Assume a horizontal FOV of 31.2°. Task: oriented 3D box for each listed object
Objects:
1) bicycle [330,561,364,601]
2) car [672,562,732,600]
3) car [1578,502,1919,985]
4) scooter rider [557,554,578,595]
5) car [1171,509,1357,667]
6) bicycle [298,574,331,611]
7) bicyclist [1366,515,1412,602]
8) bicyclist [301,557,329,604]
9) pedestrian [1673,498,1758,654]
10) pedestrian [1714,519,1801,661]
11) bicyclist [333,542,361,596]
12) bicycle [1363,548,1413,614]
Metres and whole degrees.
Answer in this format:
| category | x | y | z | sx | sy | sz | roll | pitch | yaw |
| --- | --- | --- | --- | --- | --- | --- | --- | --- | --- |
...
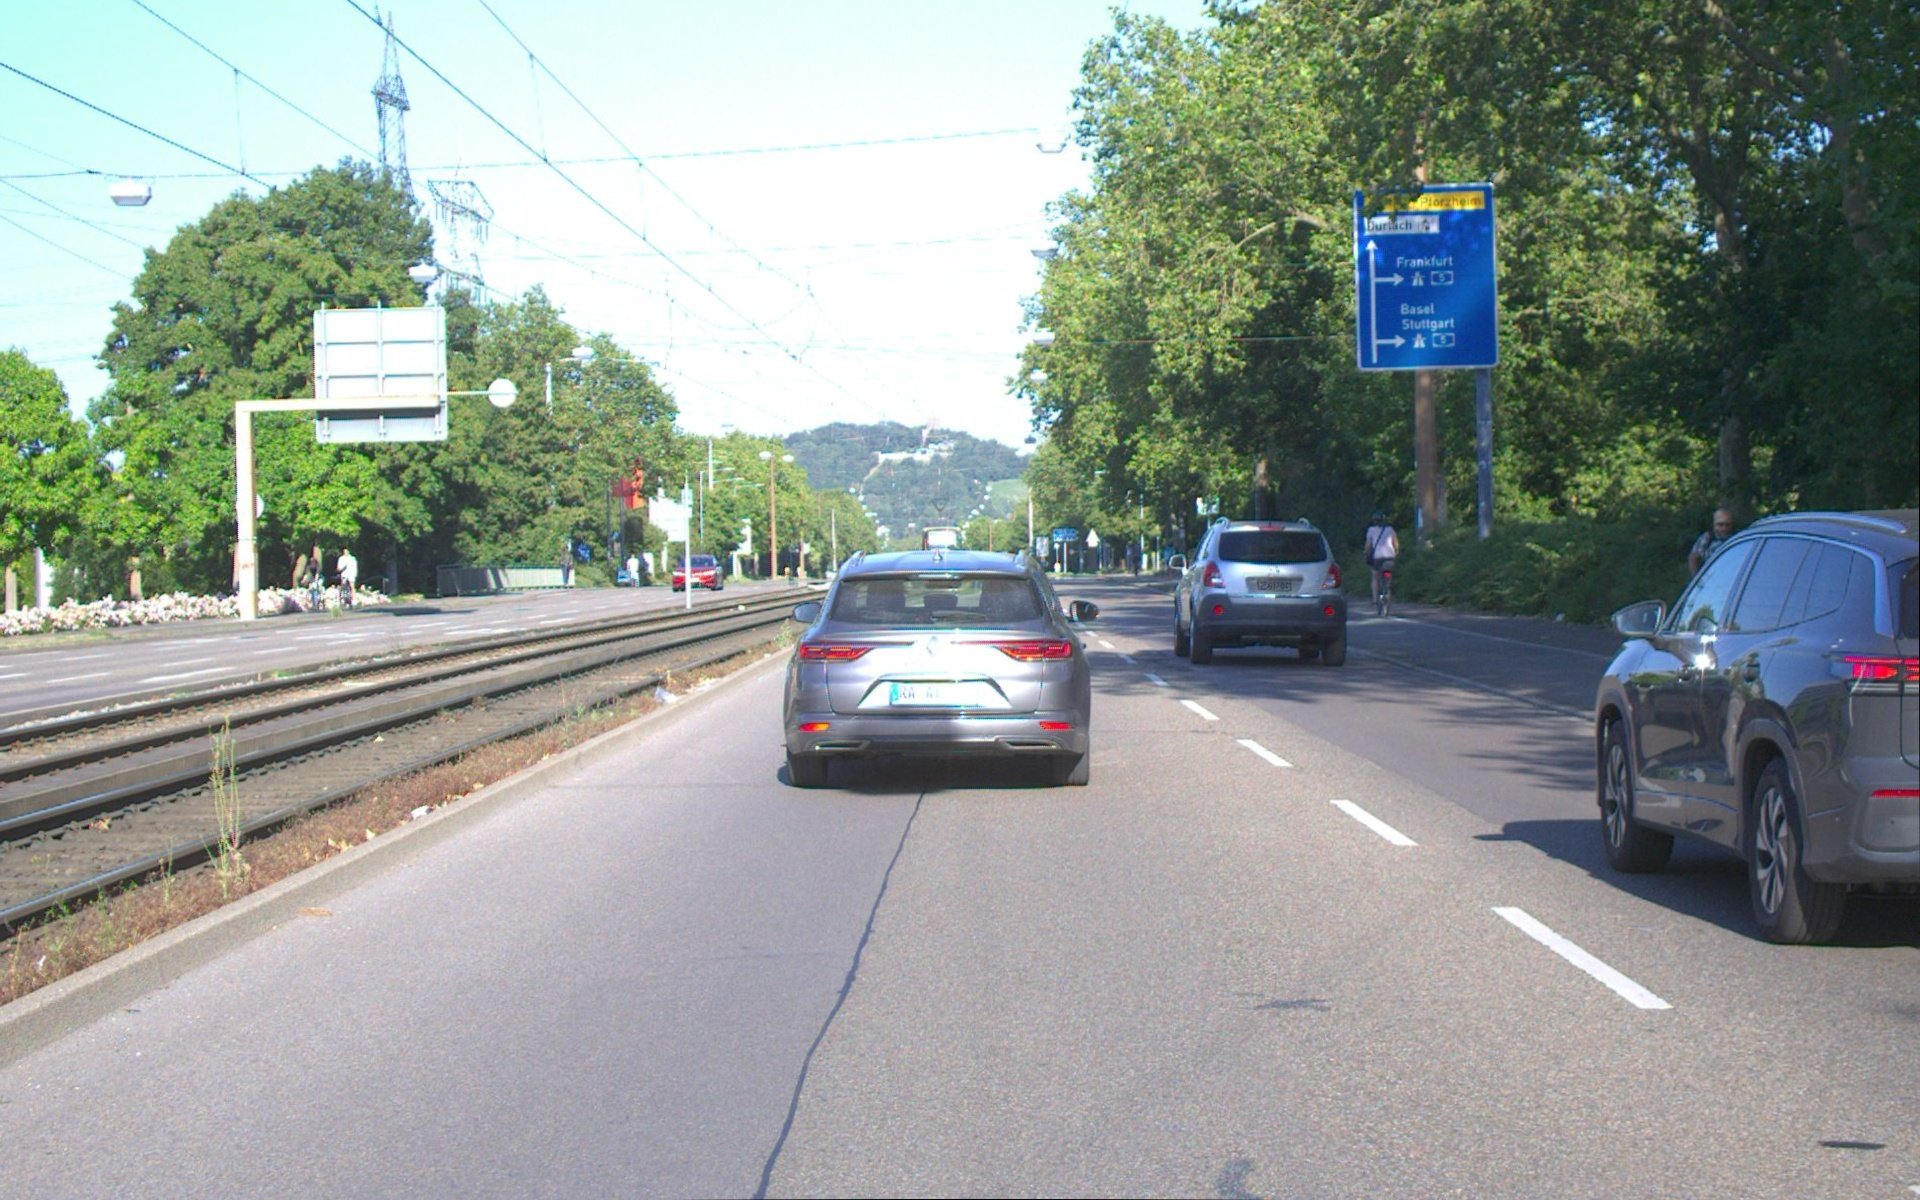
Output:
| category | x | y | z | sx | sy | sz | roll | pitch | yaw |
| --- | --- | --- | --- | --- | --- | --- | --- | --- | --- |
| bicycle | -19.201 | -0.591 | 107.721 | 0.602 | 1.215 | 1.748 | 1 | 1 | 4 |
| car | -10.977 | -0.834 | 146.449 | 2.039 | 1.498 | 4.888 | -1 | 1 | 1 |
| car | 3.907 | 0.446 | 14.021 | 1.844 | 1.655 | 4.440 | 0 | 1 | -2 |
| scooter rider | -17.977 | -1.183 | 157.472 | 0.682 | 1.842 | 1.000 | -1 | 1 | 8 |
| car | 3.650 | -0.183 | 41.916 | 1.883 | 1.789 | 4.000 | 1 | 1 | 0 |
| bicycle | -19.203 | -0.219 | 102.265 | 0.625 | 1.055 | 1.703 | 1 | 1 | 1 |
| bicyclist | 7.480 | -0.728 | 59.996 | 0.685 | 1.503 | 0.891 | 0 | 1 | 1 |
| bicyclist | -19.185 | -0.579 | 102.260 | 0.625 | 1.369 | 0.880 | 1 | 1 | 1 |
| pedestrian | 8.440 | -0.269 | 38.407 | 0.722 | 1.702 | 0.813 | -2 | 1 | 0 |
| pedestrian | 8.526 | -0.112 | 36.766 | 0.723 | 1.475 | 0.722 | -2 | 1 | 0 |
| bicyclist | -19.194 | -0.981 | 107.683 | 0.602 | 1.653 | 0.963 | 1 | 1 | 4 |
| bicycle | 7.479 | -0.338 | 60.106 | 0.622 | 1.116 | 1.813 | -2 | 1 | 1 |
